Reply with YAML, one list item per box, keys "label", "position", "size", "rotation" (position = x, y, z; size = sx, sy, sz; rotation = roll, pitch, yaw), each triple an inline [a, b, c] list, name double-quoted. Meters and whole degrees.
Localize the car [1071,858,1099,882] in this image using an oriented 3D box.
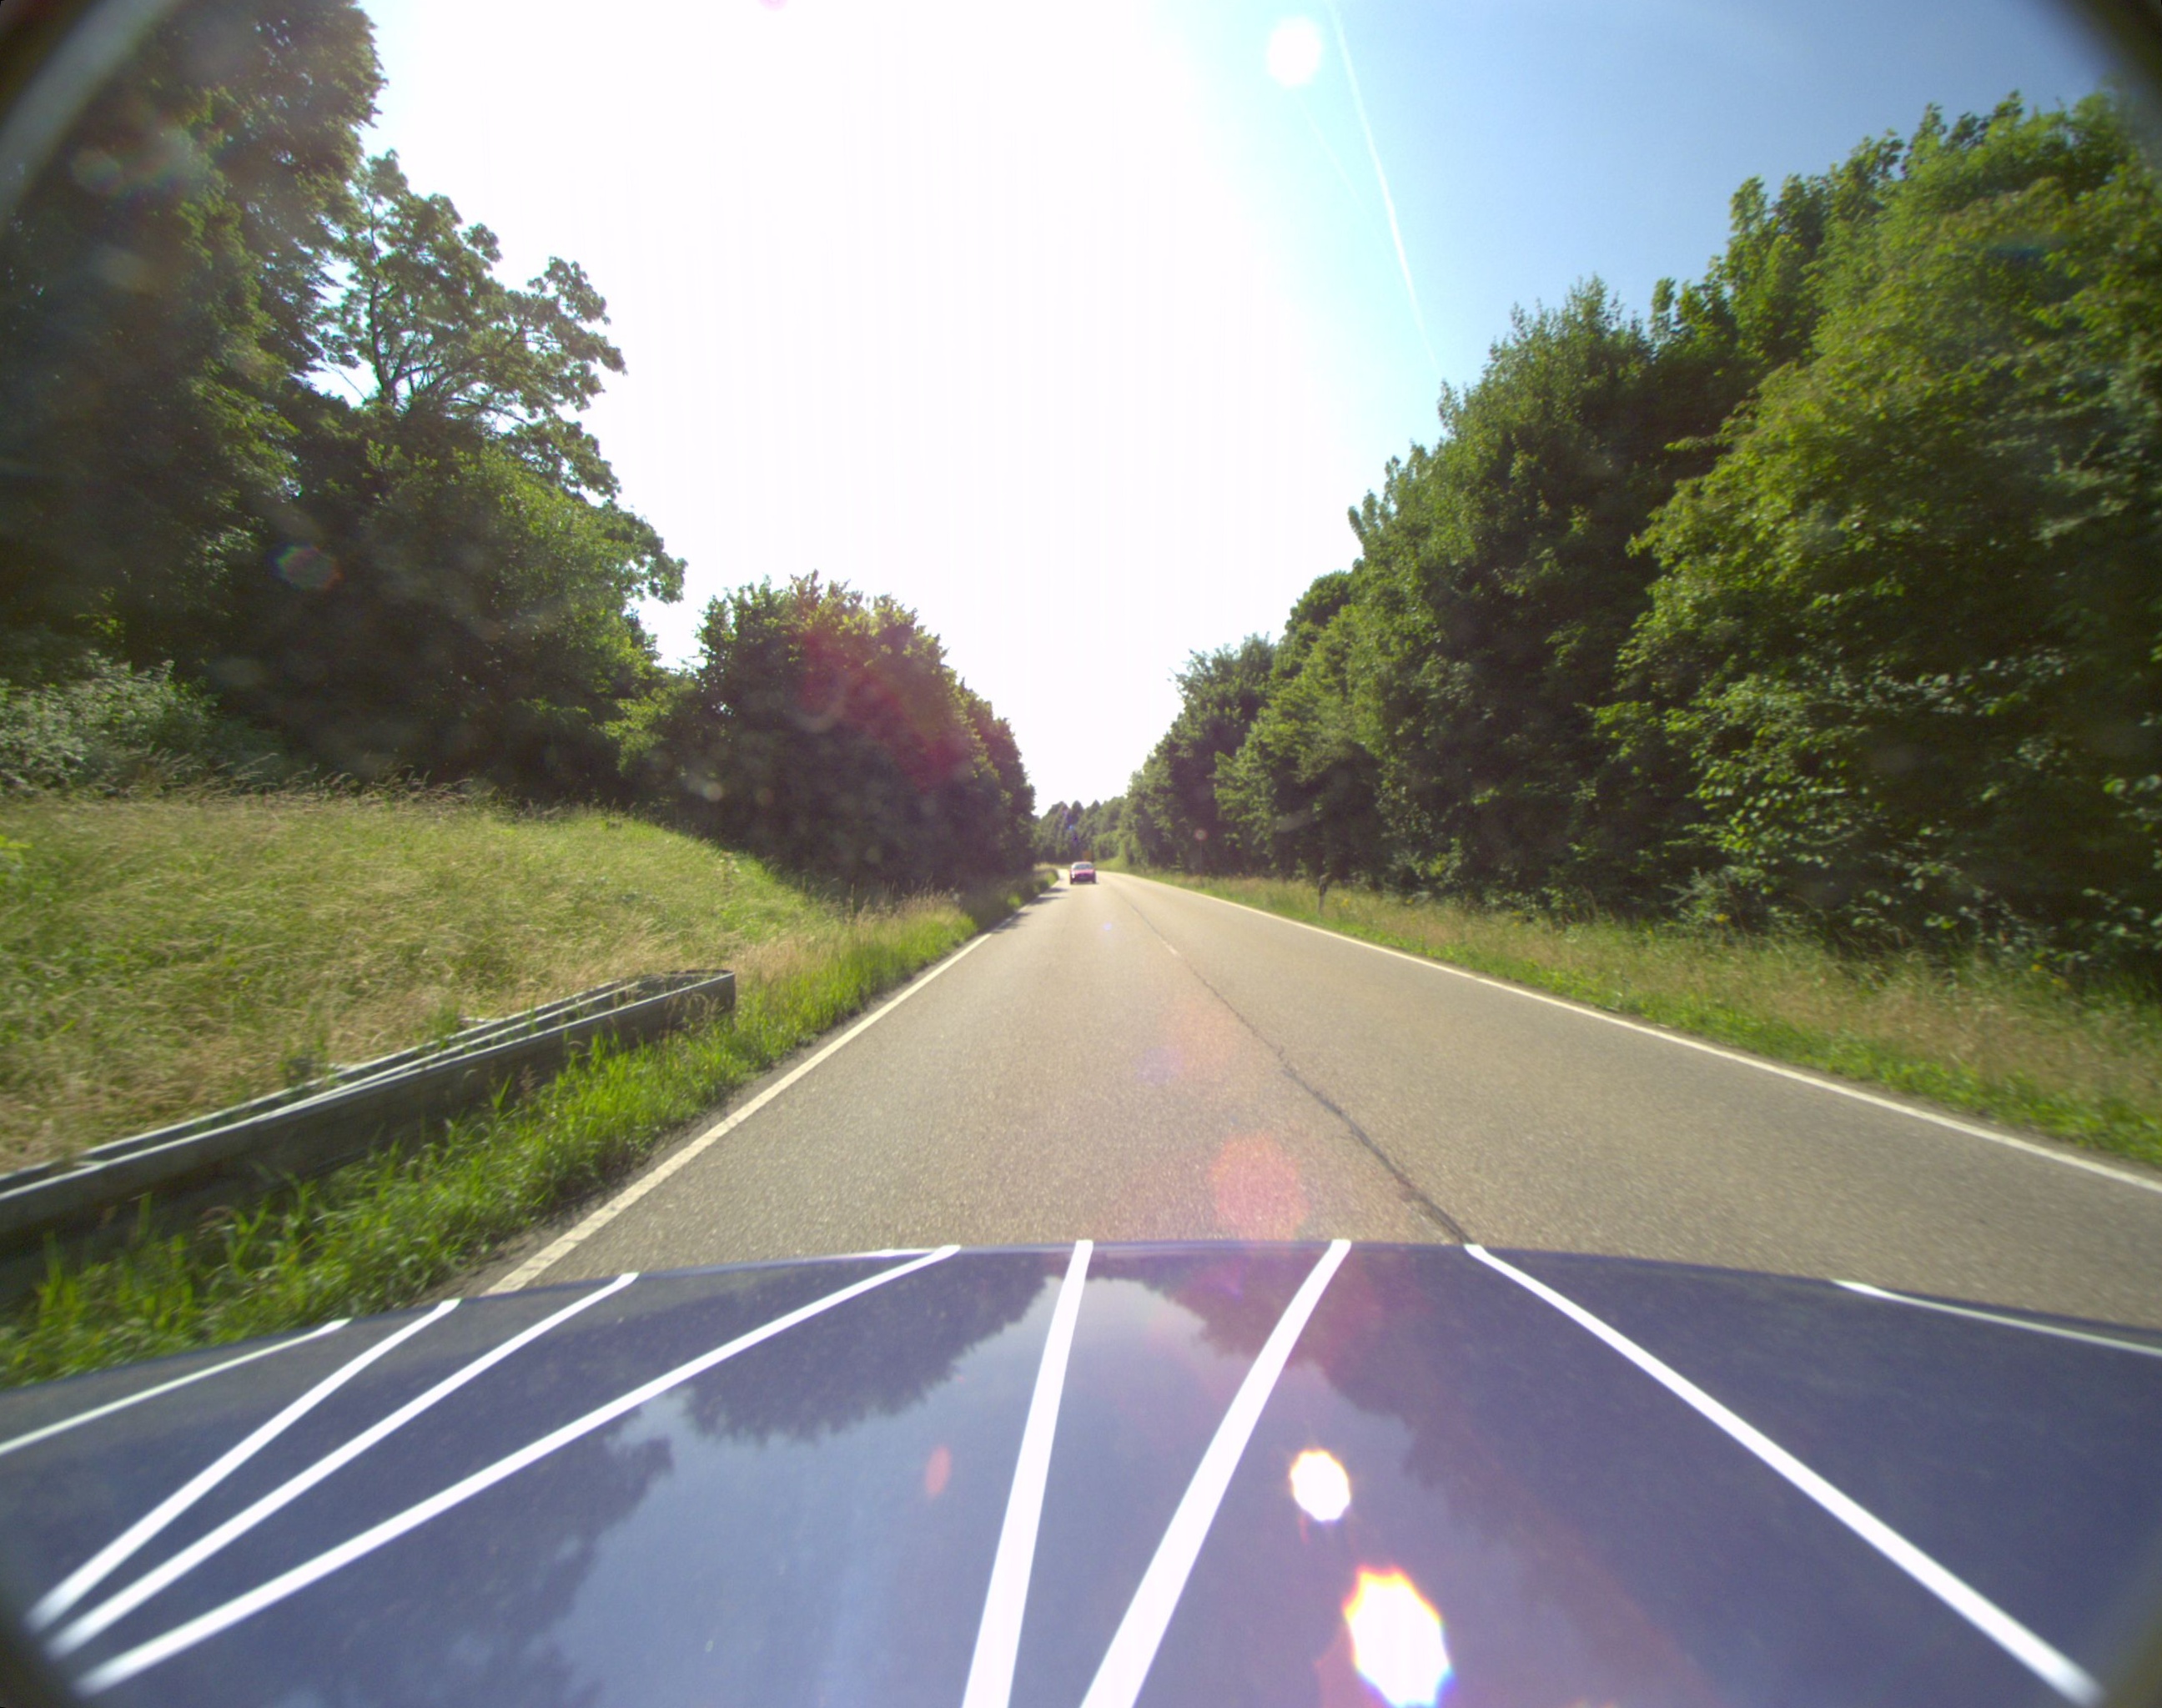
- label: "car"
  position: [0.256, 1.057, 52.393]
  size: [1.816, 1.488, 4.285]
  rotation: [-1, 1, 0]
